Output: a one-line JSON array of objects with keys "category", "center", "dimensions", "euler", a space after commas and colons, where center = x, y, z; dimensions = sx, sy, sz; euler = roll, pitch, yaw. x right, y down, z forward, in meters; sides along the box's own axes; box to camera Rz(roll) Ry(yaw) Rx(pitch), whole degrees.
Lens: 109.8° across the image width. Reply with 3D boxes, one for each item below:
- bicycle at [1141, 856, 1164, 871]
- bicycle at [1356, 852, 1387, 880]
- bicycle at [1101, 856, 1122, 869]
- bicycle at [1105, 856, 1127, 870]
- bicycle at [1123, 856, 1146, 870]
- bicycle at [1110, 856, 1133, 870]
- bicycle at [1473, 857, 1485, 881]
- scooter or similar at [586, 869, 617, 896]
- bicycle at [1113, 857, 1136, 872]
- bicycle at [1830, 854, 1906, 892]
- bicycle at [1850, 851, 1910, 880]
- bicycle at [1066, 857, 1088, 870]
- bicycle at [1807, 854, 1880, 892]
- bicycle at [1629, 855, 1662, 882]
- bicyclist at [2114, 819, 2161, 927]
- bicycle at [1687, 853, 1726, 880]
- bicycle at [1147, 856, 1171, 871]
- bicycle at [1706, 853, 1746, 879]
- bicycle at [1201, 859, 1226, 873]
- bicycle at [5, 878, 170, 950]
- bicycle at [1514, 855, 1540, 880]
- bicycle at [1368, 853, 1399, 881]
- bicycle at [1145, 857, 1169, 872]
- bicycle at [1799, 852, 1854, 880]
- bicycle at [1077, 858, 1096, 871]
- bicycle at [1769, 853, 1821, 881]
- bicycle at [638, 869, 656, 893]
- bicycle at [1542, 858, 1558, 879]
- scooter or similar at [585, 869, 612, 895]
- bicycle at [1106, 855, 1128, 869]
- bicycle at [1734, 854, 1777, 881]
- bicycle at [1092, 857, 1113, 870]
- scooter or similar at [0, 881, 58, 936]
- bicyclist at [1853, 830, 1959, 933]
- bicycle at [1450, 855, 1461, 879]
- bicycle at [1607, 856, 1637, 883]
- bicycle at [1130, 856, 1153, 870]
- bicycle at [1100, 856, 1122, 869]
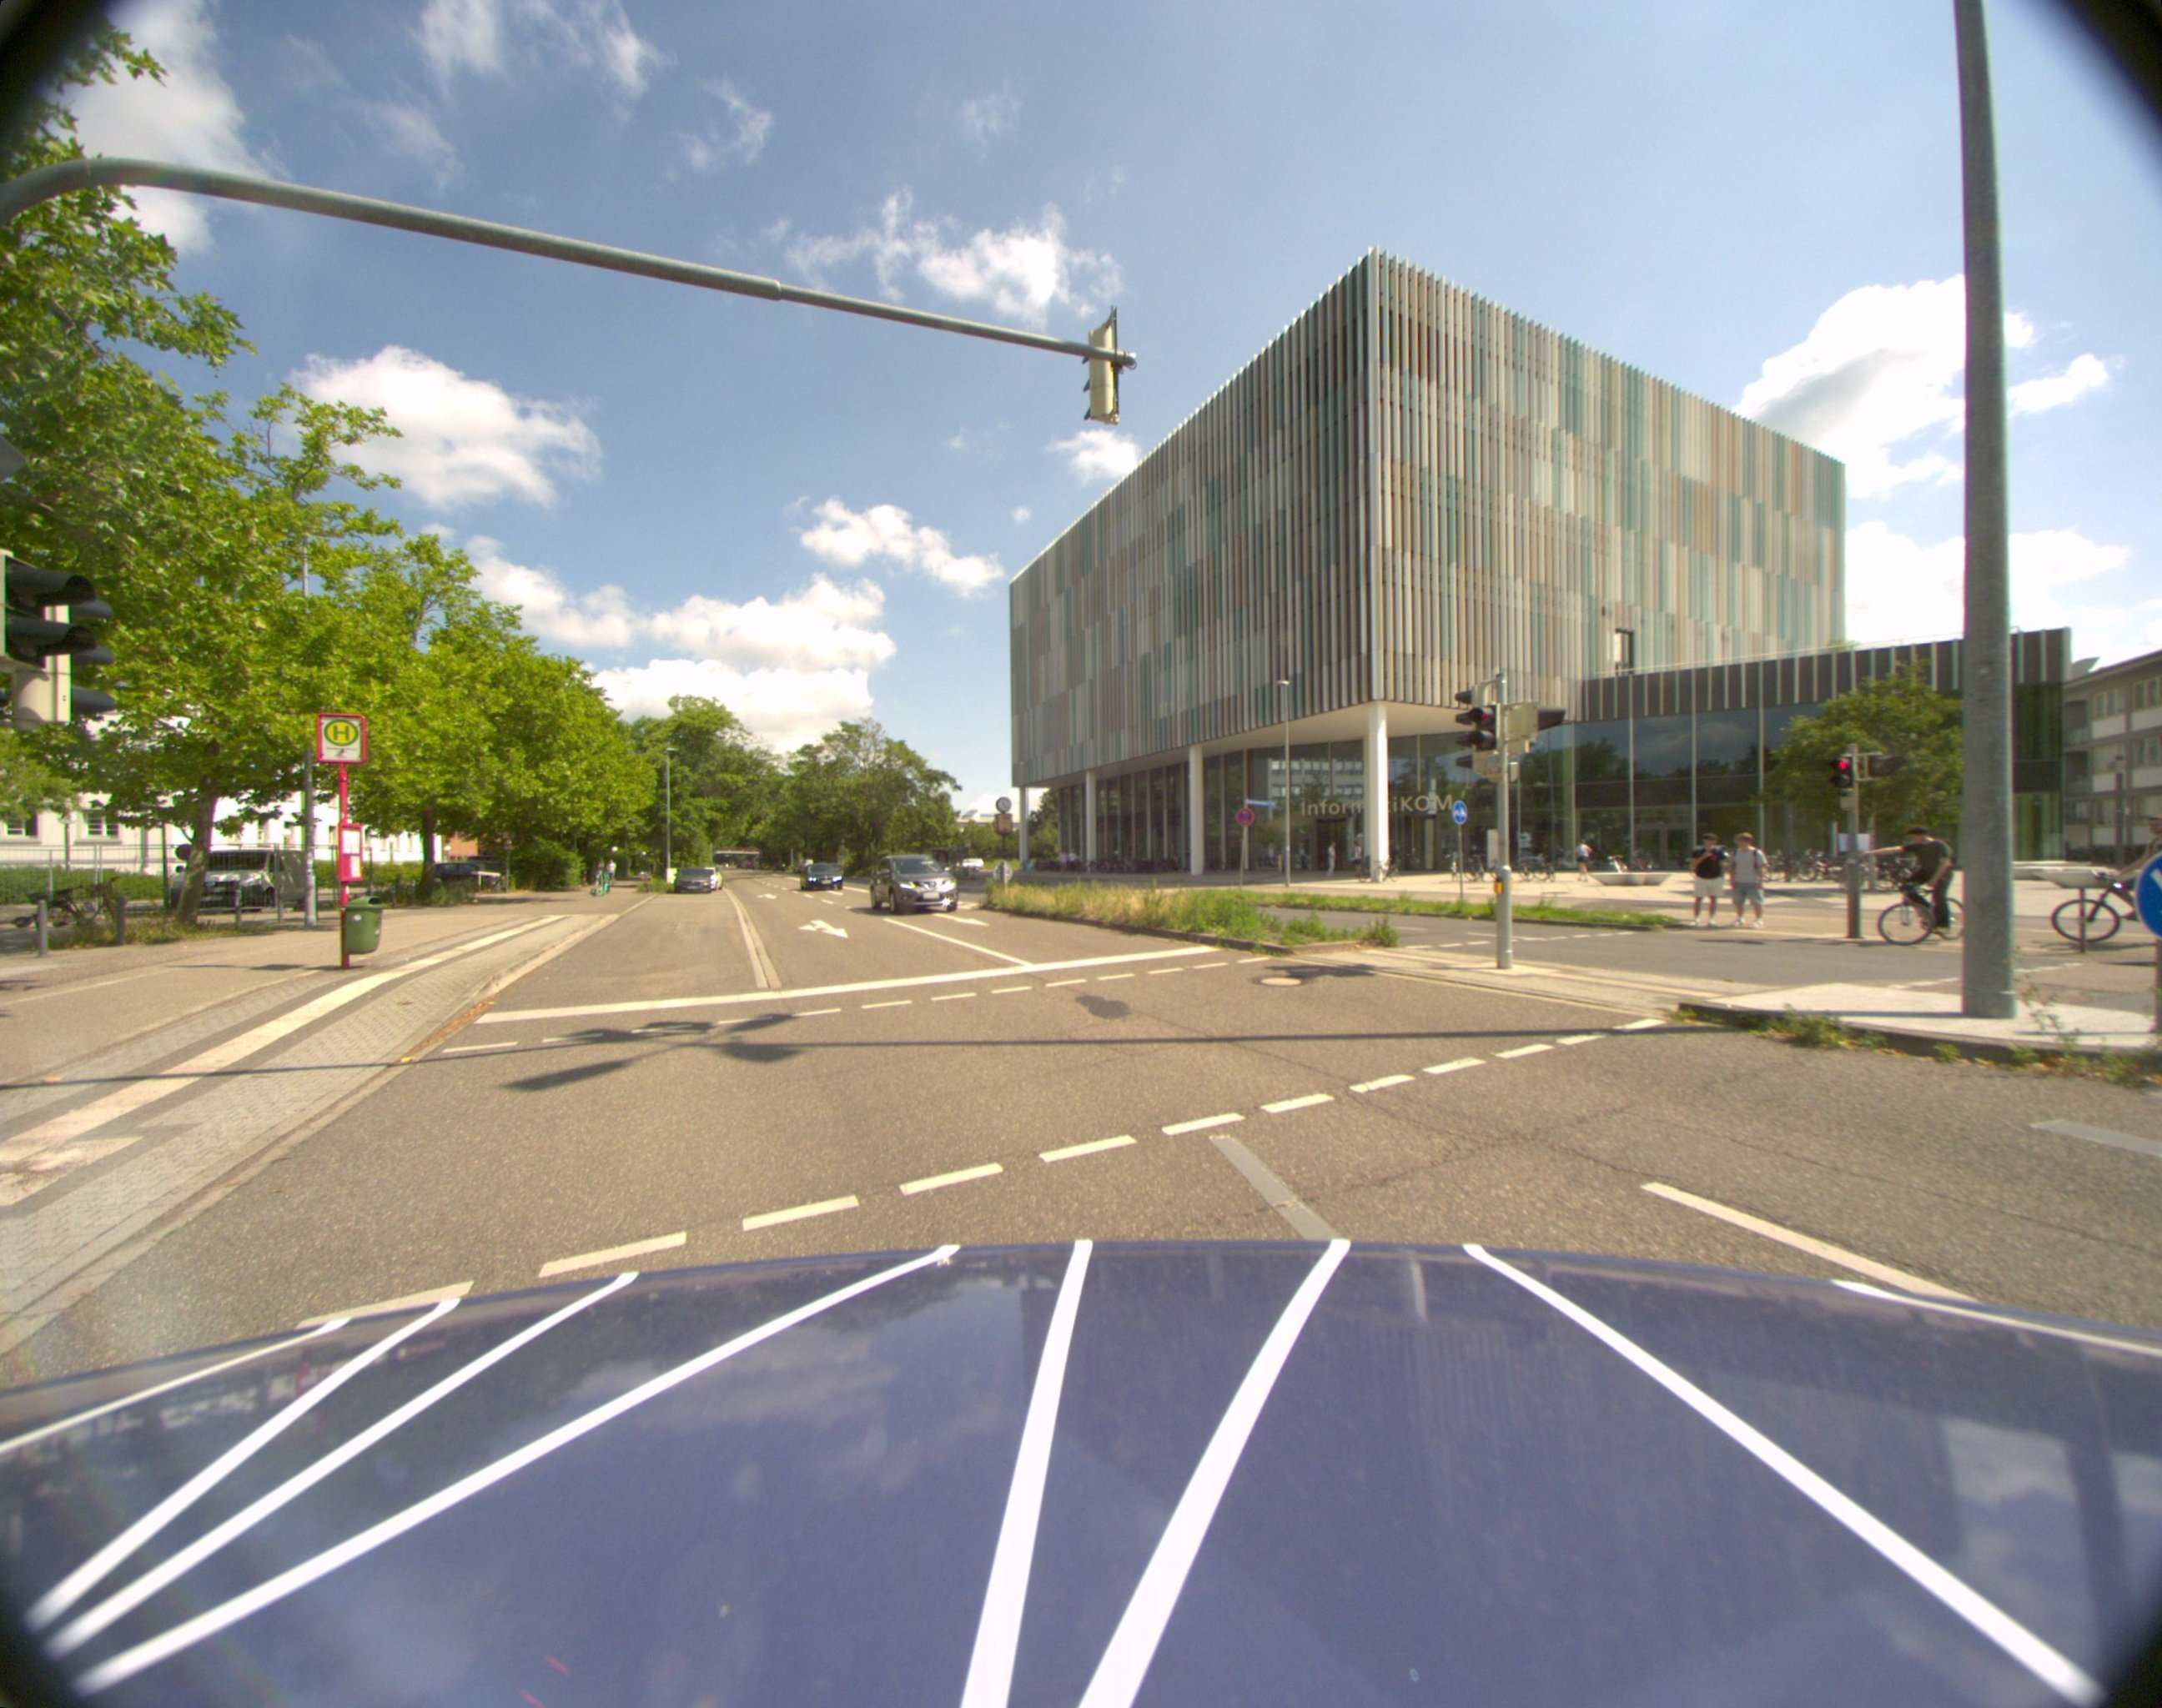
[{"category": "bicycle", "center": [4.952, 0.657, 52.763], "dimensions": [1.547, 0.950, 0.373], "euler": [-3, 1, -11]}, {"category": "bicycle", "center": [13.190, 0.553, 34.491], "dimensions": [1.548, 1.180, 0.372], "euler": [-3, 2, -28]}, {"category": "bicycle", "center": [2.310, 0.638, 57.663], "dimensions": [1.547, 0.950, 0.373], "euler": [-3, 1, -11]}, {"category": "bicycle", "center": [2.653, 0.672, 57.109], "dimensions": [1.547, 0.950, 0.373], "euler": [-3, 1, -11]}, {"category": "bicycle", "center": [3.801, 0.631, 54.147], "dimensions": [1.547, 0.950, 0.373], "euler": [-3, 1, -11]}, {"category": "bicycle", "center": [2.970, 0.650, 55.839], "dimensions": [1.547, 0.950, 0.373], "euler": [-3, 1, -11]}, {"category": "bicycle", "center": [17.126, 0.620, 32.716], "dimensions": [0.372, 0.950, 1.776], "euler": [-1, 1, 25]}, {"category": "scooter or similar", "center": [-23.003, 1.356, 36.464], "dimensions": [0.529, 1.239, 1.290], "euler": [0, -1, 8]}, {"category": "bicycle", "center": [3.149, 0.757, 54.666], "dimensions": [1.547, 0.950, 0.373], "euler": [-3, 1, -11]}, {"category": "bicycle", "center": [21.389, 0.499, 20.694], "dimensions": [0.528, 0.950, 1.775], "euler": [-1, 1, 12]}, {"category": "bicycle", "center": [27.812, 0.382, 26.486], "dimensions": [0.528, 0.950, 1.775], "euler": [-1, 1, 12]}, {"category": "bicycle", "center": [-0.313, 0.804, 63.405], "dimensions": [1.787, 0.950, 0.432], "euler": [-3, 1, -26]}, {"category": "bicycle", "center": [20.796, 0.498, 20.765], "dimensions": [0.528, 0.950, 1.775], "euler": [-1, 1, 12]}, {"category": "bicycle", "center": [22.136, 0.553, 29.829], "dimensions": [0.528, 0.949, 1.776], "euler": [-4, 0, 21]}, {"category": "bicyclist", "center": [15.641, 0.261, 10.926], "dimensions": [0.783, 1.529, 0.658], "euler": [-1, 1, 39]}, {"category": "bicycle", "center": [24.010, 0.457, 29.206], "dimensions": [0.528, 0.950, 1.775], "euler": [-1, 1, 18]}, {"category": "bicycle", "center": [5.318, 0.629, 51.549], "dimensions": [1.547, 0.950, 0.373], "euler": [-3, 1, -11]}, {"category": "bicycle", "center": [24.648, 0.442, 29.075], "dimensions": [0.528, 0.950, 1.775], "euler": [-1, 1, 18]}, {"category": "bicycle", "center": [8.208, 0.760, 47.112], "dimensions": [1.548, 0.771, 0.373], "euler": [-3, 1, -23]}, {"category": "bicycle", "center": [-18.903, 1.094, 14.545], "dimensions": [0.800, 1.176, 2.028], "euler": [-2, 1, -15]}, {"category": "bicycle", "center": [18.616, 0.565, 31.705], "dimensions": [0.527, 0.950, 1.777], "euler": [0, 1, 44]}, {"category": "bicycle", "center": [13.589, 0.564, 34.093], "dimensions": [1.548, 1.180, 0.372], "euler": [-3, 3, -28]}, {"category": "bicycle", "center": [5.212, 0.694, 52.124], "dimensions": [1.547, 0.950, 0.373], "euler": [-3, 1, -11]}, {"category": "bicycle", "center": [26.642, 0.417, 27.186], "dimensions": [0.528, 0.950, 1.775], "euler": [-1, 1, 12]}, {"category": "bicycle", "center": [0.444, 0.828, 59.473], "dimensions": [1.549, 0.950, 0.372], "euler": [-3, 2, -37]}, {"category": "bicycle", "center": [26.017, 0.472, 27.719], "dimensions": [0.528, 0.950, 1.775], "euler": [-1, 1, 12]}, {"category": "bicycle", "center": [-22.450, 1.387, 39.322], "dimensions": [0.641, 1.183, 2.114], "euler": [0, -1, -26]}, {"category": "bicycle", "center": [19.258, 0.582, 31.204], "dimensions": [0.527, 0.759, 1.777], "euler": [-1, 1, 32]}, {"category": "scooter or similar", "center": [-21.851, 1.269, 34.445], "dimensions": [0.530, 1.162, 1.573], "euler": [0, -1, -12]}, {"category": "bicycle", "center": [2.680, 0.597, 56.547], "dimensions": [1.547, 0.950, 0.373], "euler": [-3, 1, -11]}, {"category": "bicycle", "center": [25.177, 0.495, 28.387], "dimensions": [0.528, 0.950, 1.775], "euler": [-1, 1, 18]}, {"category": "bicycle", "center": [1.703, 0.717, 59.171], "dimensions": [1.547, 0.950, 0.373], "euler": [-3, 1, -11]}, {"category": "scooter or similar", "center": [-24.776, 1.265, 17.547], "dimensions": [1.301, 1.226, 0.280], "euler": [-2, 3, -40]}, {"category": "bicyclist", "center": [13.433, 0.437, 12.406], "dimensions": [0.997, 1.606, 0.658], "euler": [-1, 1, 27]}, {"category": "bicycle", "center": [16.104, 0.558, 32.678], "dimensions": [0.372, 0.950, 1.549], "euler": [-1, 1, 25]}, {"category": "bicycle", "center": [21.290, 0.594, 29.921], "dimensions": [0.528, 0.950, 1.776], "euler": [-1, 1, 21]}, {"category": "bicycle", "center": [4.271, 0.619, 53.750], "dimensions": [1.547, 0.950, 0.373], "euler": [-3, 1, -11]}, {"category": "bicycle", "center": [2.301, 0.659, 58.091], "dimensions": [1.547, 0.950, 0.373], "euler": [-3, 1, -11]}]
